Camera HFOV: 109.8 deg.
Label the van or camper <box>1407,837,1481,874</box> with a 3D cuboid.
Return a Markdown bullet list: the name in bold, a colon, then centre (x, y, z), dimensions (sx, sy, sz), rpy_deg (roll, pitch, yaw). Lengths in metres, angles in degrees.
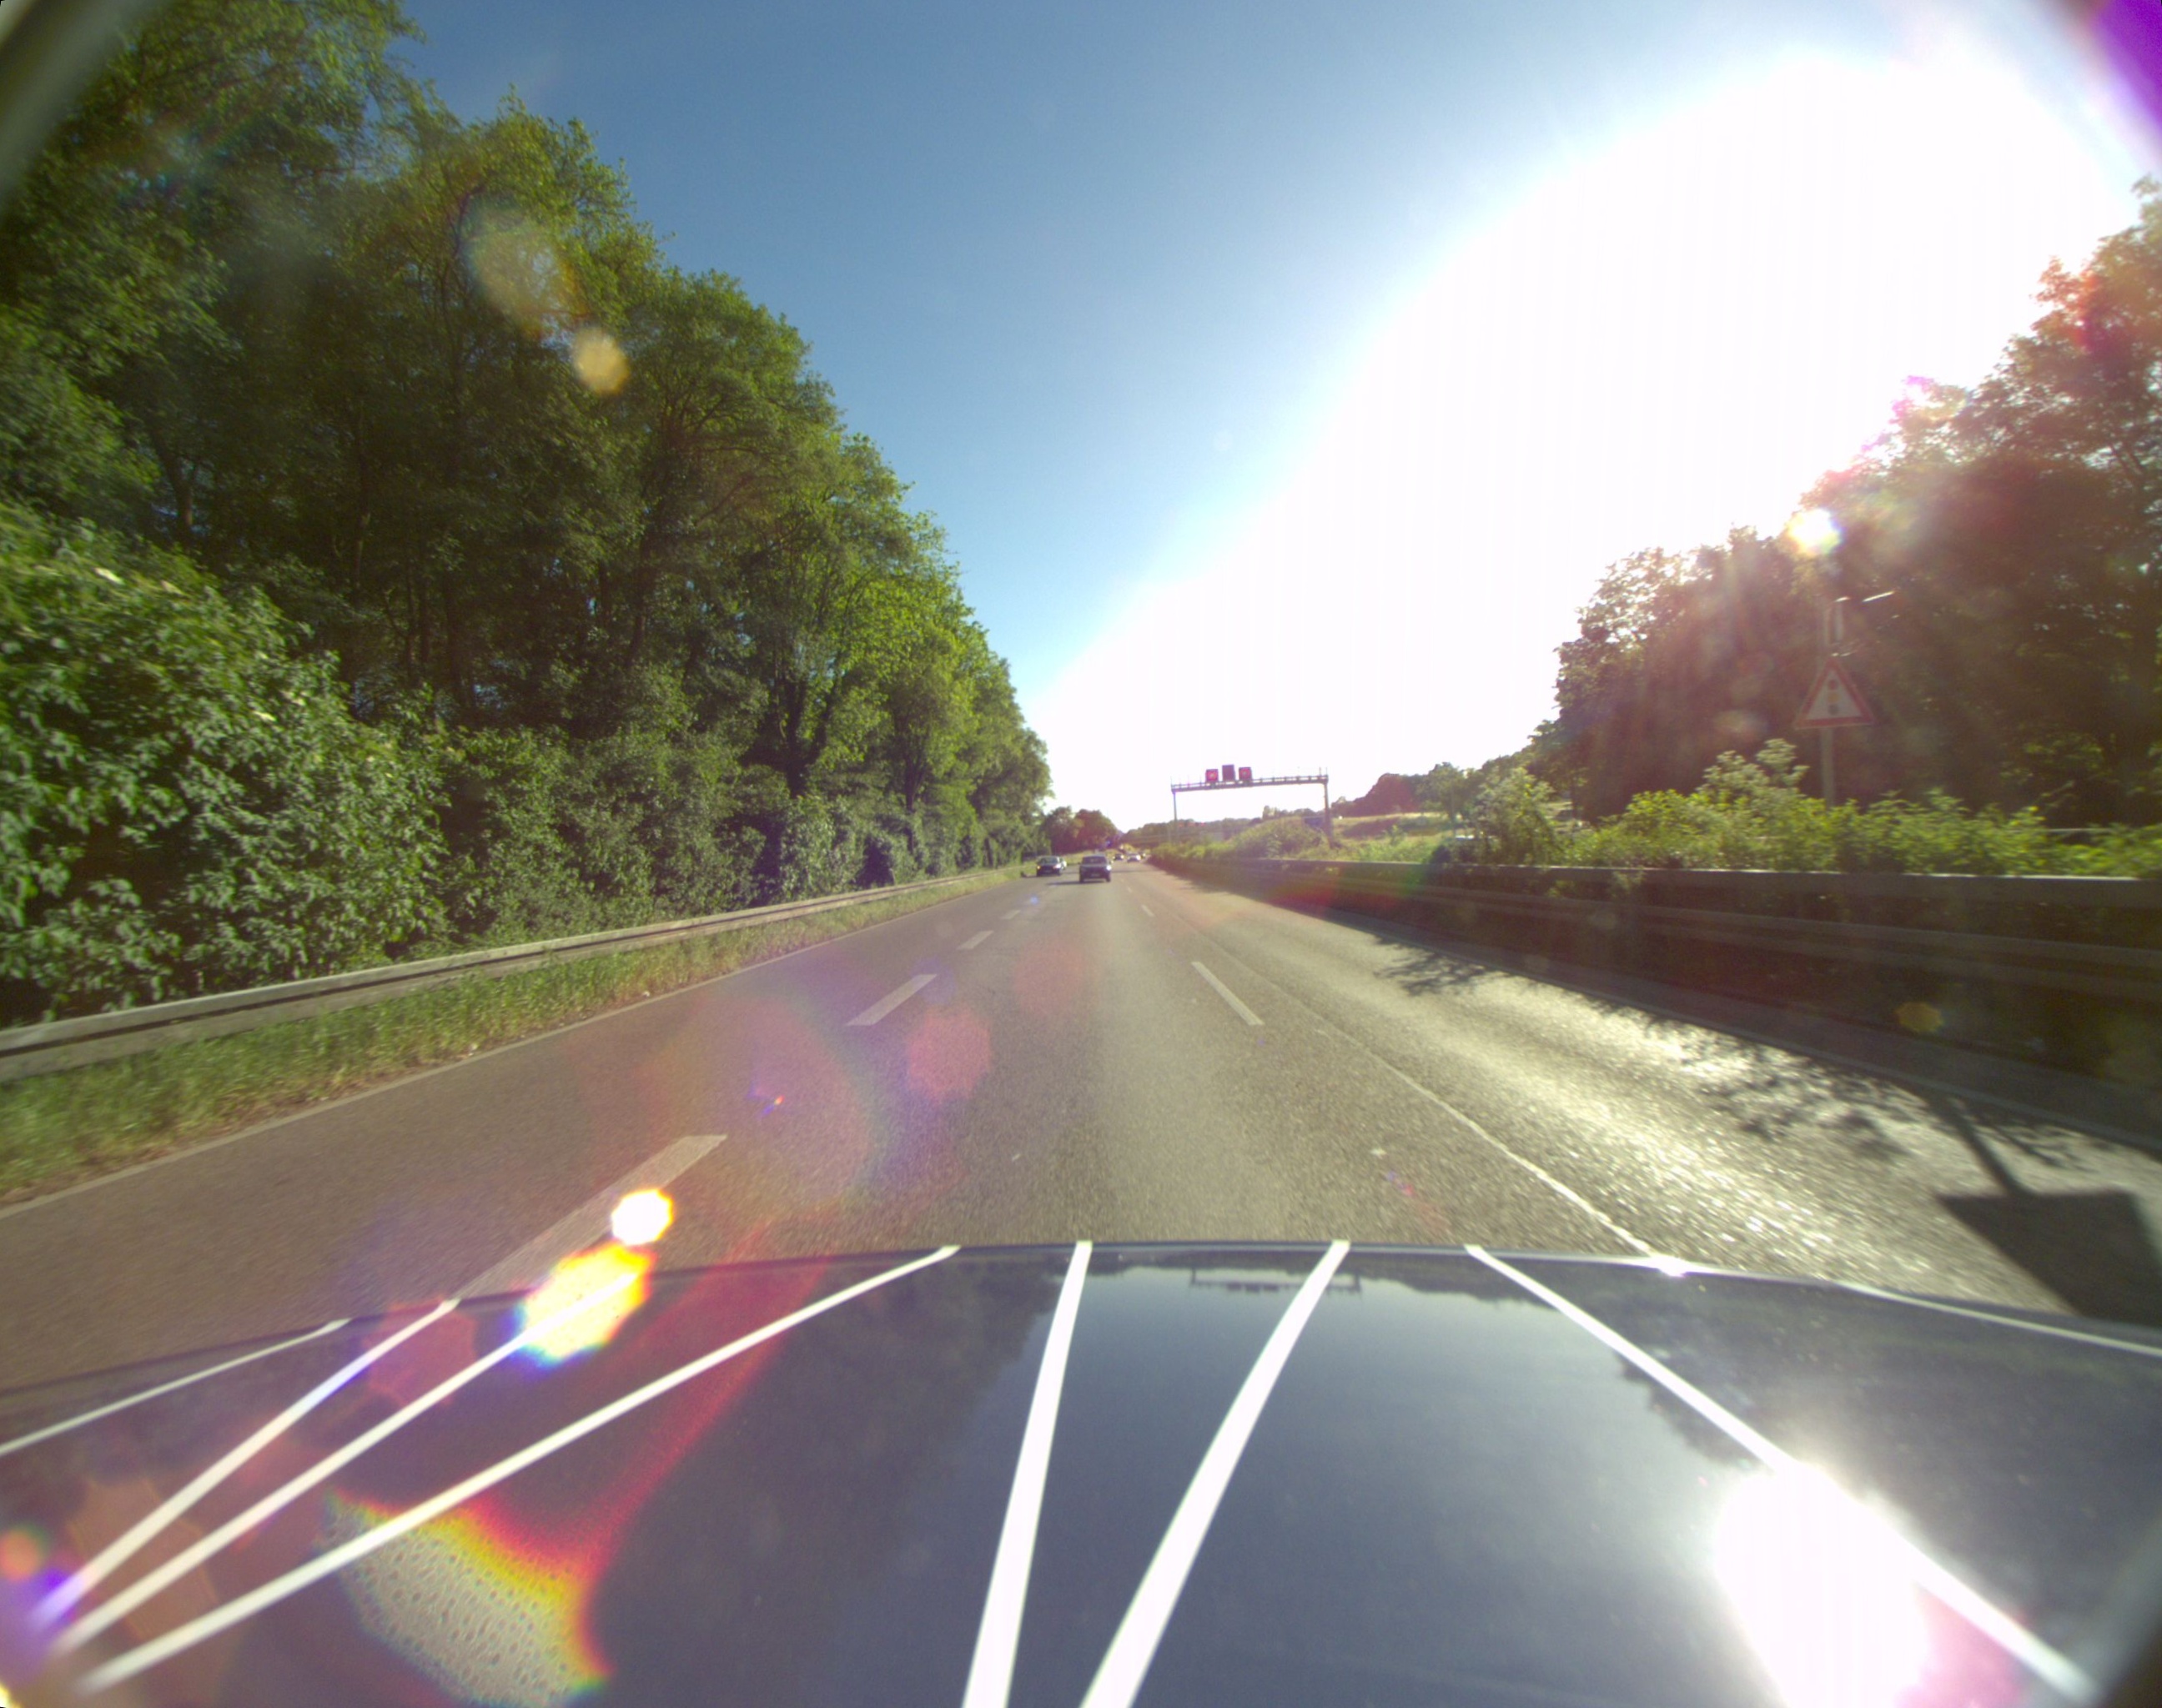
- **van or camper**: centre (21.875, 0.051, 46.102), dimensions (1.881, 2.002, 5.940), rpy_deg (-3, 0, 3)

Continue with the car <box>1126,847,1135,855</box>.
- **car**: centre (11.668, -0.764, 177.891), dimensions (1.998, 1.740, 4.374), rpy_deg (-2, 1, 5)

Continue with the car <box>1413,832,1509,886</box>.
- **car**: centre (15.618, 0.166, 31.501), dimensions (1.998, 2.002, 4.000), rpy_deg (-2, 1, 1)

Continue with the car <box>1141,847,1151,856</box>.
- **car**: centre (12.820, -0.510, 149.453), dimensions (1.998, 1.740, 4.374), rpy_deg (-2, 1, 5)

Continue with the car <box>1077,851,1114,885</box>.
- **car**: centre (0.817, 0.726, 40.975), dimensions (1.712, 1.565, 3.423), rpy_deg (-5, 1, 3)

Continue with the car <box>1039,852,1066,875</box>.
- **car**: centre (-2.115, 0.684, 57.364), dimensions (1.712, 1.565, 3.423), rpy_deg (-2, 1, 3)

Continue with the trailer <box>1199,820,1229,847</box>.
- **trailer**: centre (20.820, -3.129, 119.948), dimensions (3.029, 3.965, 14.028), rpy_deg (-2, 1, 3)

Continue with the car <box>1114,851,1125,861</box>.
- **car**: centre (7.118, 0.360, 140.360), dimensions (1.998, 1.740, 4.373), rpy_deg (-2, 1, 4)

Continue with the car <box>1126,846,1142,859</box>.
- **car**: centre (7.876, -0.288, 113.372), dimensions (1.998, 1.793, 4.000), rpy_deg (-2, 1, 1)
